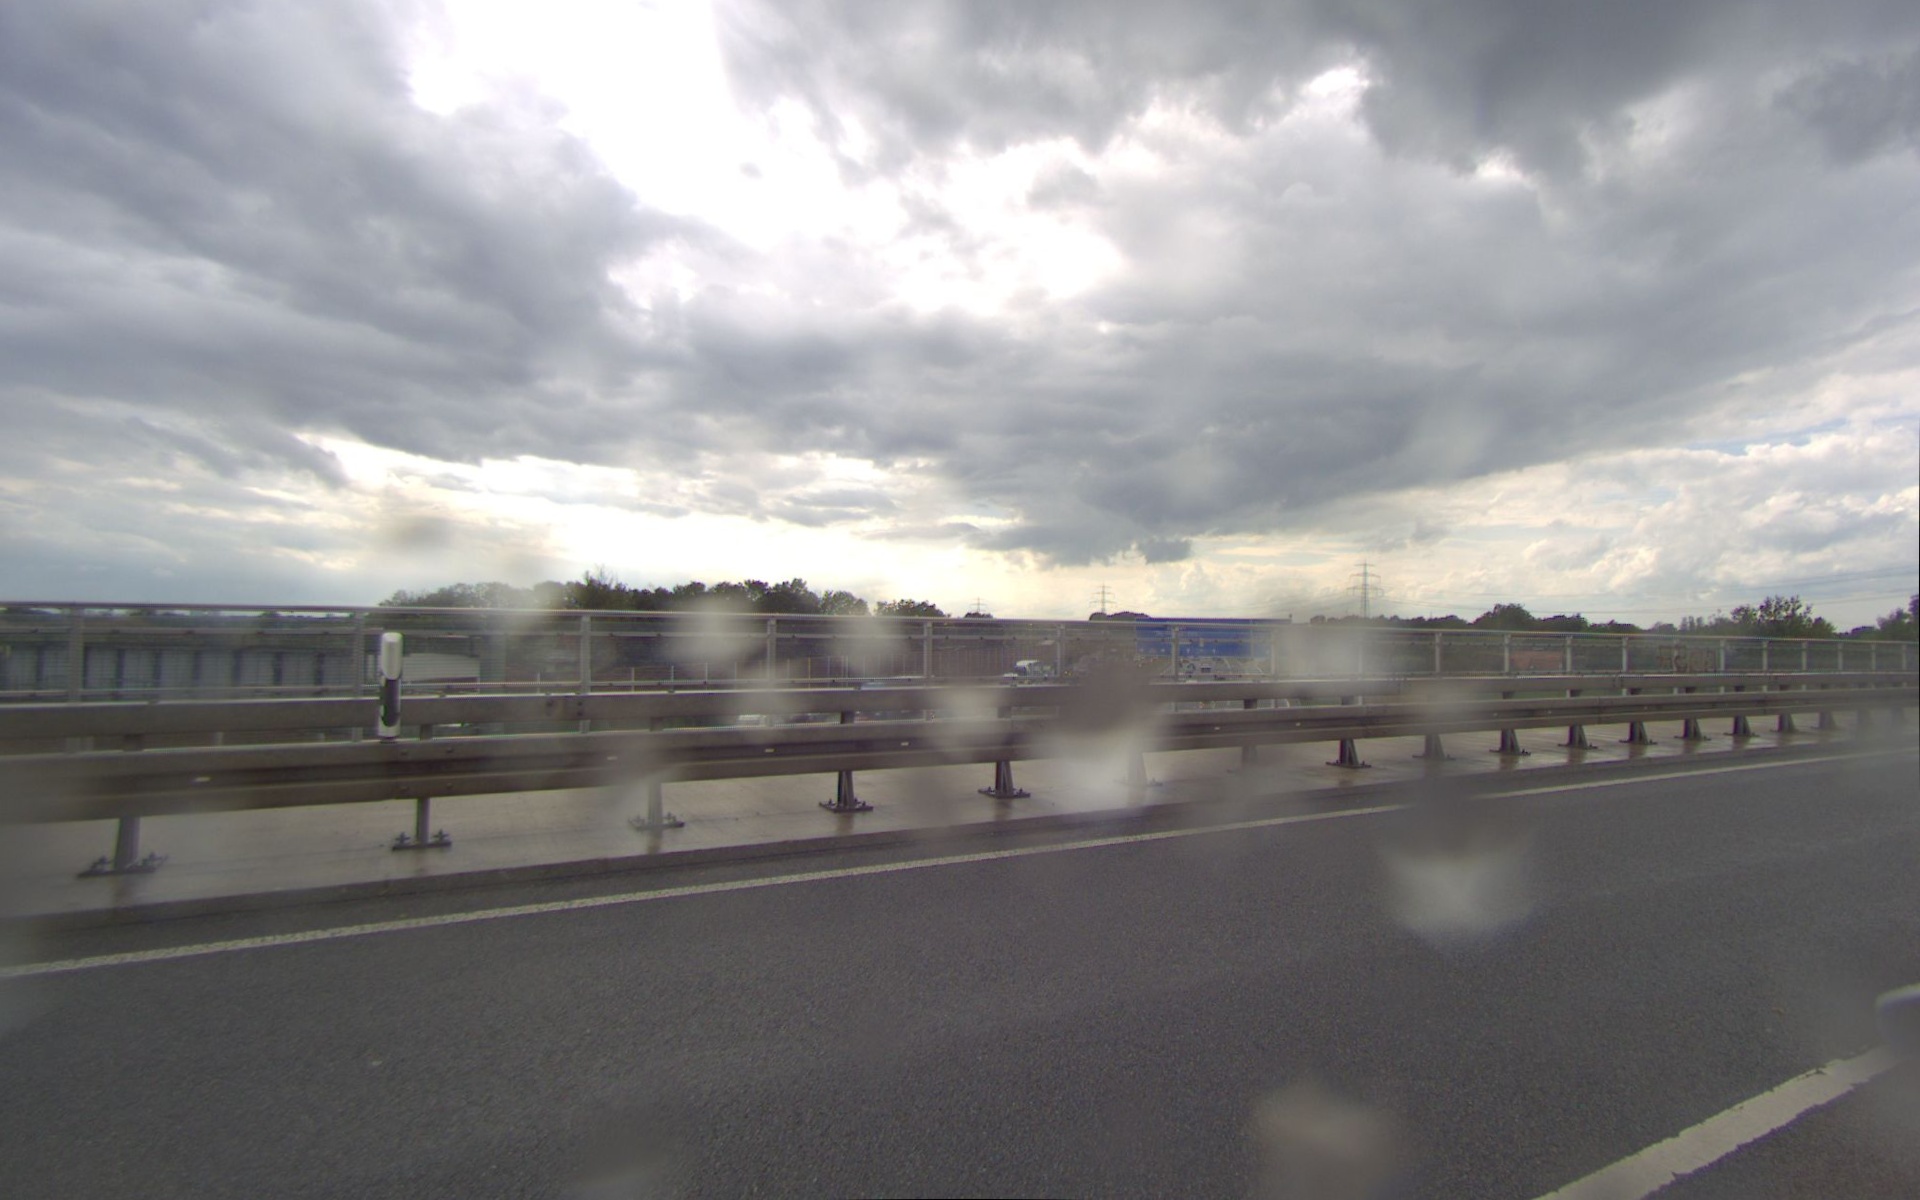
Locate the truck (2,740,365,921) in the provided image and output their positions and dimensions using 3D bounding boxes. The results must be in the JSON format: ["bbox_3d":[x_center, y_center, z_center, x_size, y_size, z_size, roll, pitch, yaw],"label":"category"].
[{"bbox_3d":[-27.575,7.927,36.822,2.388,4.055,11.173,2,0,17],"label":"truck"}]

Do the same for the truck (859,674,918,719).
[{"bbox_3d":[-7.478,10.119,106.722,2.388,3.812,11.173,2,0,17],"label":"truck"}]

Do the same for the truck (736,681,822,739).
[{"bbox_3d":[-15.402,9.311,86.642,2.388,3.812,11.173,2,0,17],"label":"truck"}]

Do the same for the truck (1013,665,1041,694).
[{"bbox_3d":[11.744,13.733,174.190,2.388,4.250,11.173,2,0,17],"label":"truck"}]
